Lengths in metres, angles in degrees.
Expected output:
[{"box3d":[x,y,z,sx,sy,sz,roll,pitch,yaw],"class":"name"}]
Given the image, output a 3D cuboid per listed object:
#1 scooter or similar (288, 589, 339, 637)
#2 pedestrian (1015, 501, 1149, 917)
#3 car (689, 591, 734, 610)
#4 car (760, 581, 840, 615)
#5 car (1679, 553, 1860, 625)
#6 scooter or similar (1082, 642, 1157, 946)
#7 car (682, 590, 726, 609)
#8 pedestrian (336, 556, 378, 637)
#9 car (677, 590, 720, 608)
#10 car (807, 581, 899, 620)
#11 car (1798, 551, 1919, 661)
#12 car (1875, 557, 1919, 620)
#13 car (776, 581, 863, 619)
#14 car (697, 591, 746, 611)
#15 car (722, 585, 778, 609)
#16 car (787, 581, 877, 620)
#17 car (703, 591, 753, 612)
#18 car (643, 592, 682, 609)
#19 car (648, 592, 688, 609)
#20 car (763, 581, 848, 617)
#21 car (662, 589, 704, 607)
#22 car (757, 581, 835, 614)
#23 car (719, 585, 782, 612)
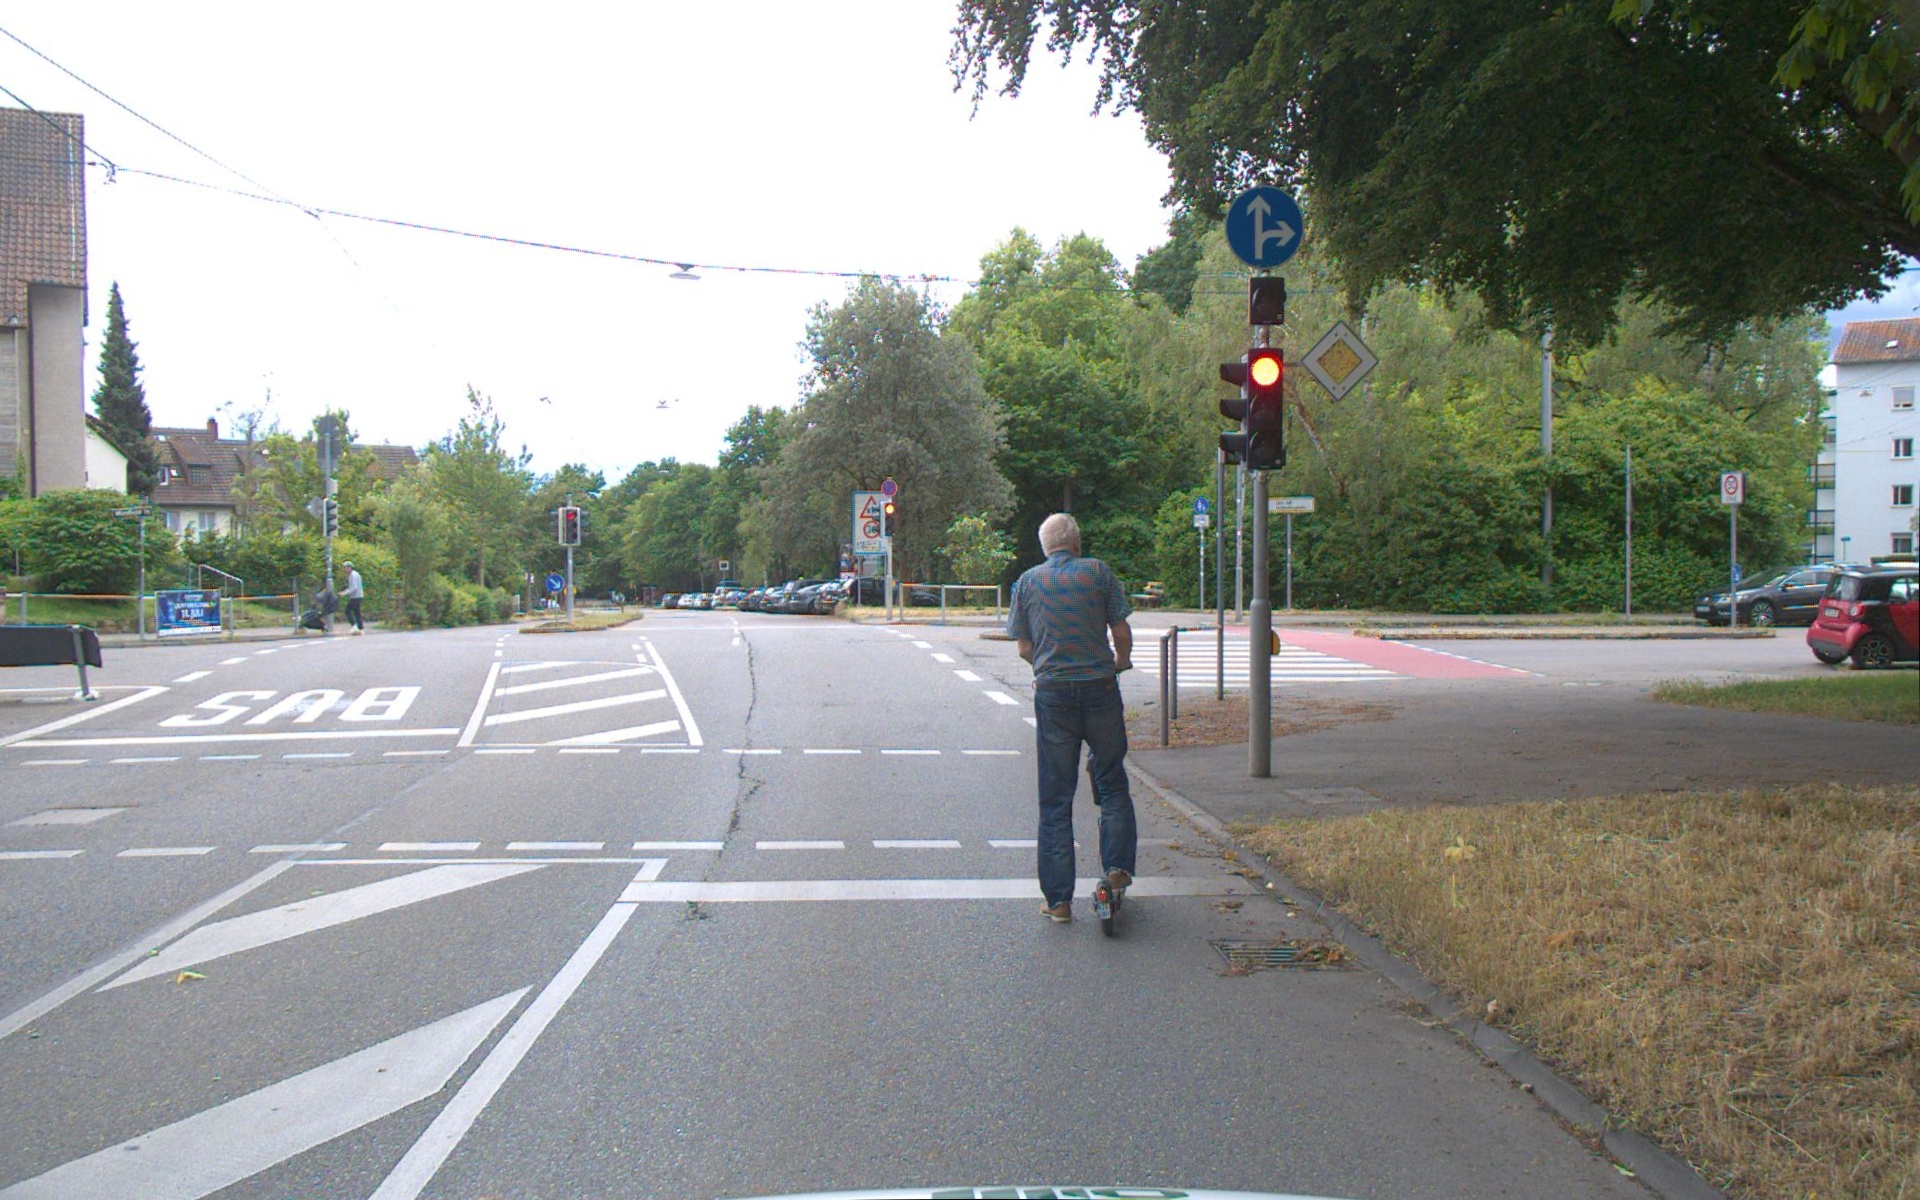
[{"box3d":[-15.249,0.298,39.006,1.093,1.100,0.573,-1,1,-25],"class":"scooter or similar"},{"box3d":[0.565,0.484,7.565,0.560,1.845,0.421,-1,0,7],"class":"pedestrian"},{"box3d":[-23.063,0.004,153.716,3.790,1.639,1.716,-2,1,-24],"class":"car"},{"box3d":[-8.368,-0.134,86.520,3.790,1.639,1.716,-2,1,-24],"class":"car"},{"box3d":[19.148,-0.266,39.235,3.444,1.557,1.729,-2,1,5],"class":"car"},{"box3d":[0.726,0.815,7.391,0.276,1.199,1.178,-1,1,7],"class":"scooter or similar"},{"box3d":[-24.122,-0.069,155.833,3.790,1.639,1.716,-2,1,-24],"class":"car"},{"box3d":[-14.389,-0.096,39.441,0.872,1.895,0.570,-1,0,-25],"class":"pedestrian"},{"box3d":[-25.053,-0.096,158.390,3.790,1.639,1.716,-2,1,-24],"class":"car"},{"box3d":[-4.849,0.009,74.712,3.787,1.639,1.717,-2,1,-22],"class":"car"},{"box3d":[15.250,0.044,25.834,3.444,1.639,1.729,-2,1,4],"class":"car"},{"box3d":[26.399,-0.339,45.815,1.689,1.639,3.850,-1,1,27],"class":"car"},{"box3d":[-6.728,-0.017,79.196,3.790,1.639,1.716,-2,1,-24],"class":"car"},{"box3d":[-20.555,0.080,142.450,3.790,1.639,1.716,-2,1,-24],"class":"car"},{"box3d":[-15.440,-0.231,121.656,3.790,1.639,1.716,-2,1,-24],"class":"car"},{"box3d":[-5.934,0.003,76.666,3.792,1.639,1.715,-2,1,-25],"class":"car"},{"box3d":[-19.460,0.113,138.791,3.790,1.639,1.716,-2,1,-24],"class":"car"},{"box3d":[-31.934,0.064,177.482,3.790,1.639,1.716,-2,1,-24],"class":"car"},{"box3d":[-30.925,0.005,175.160,3.790,1.639,1.716,-2,1,-24],"class":"car"},{"box3d":[-7.579,-0.071,81.218,3.790,1.639,1.716,-2,1,-24],"class":"car"},{"box3d":[-27.745,-0.176,165.544,3.790,1.639,1.716,-2,1,-24],"class":"car"},{"box3d":[-8.807,-0.147,88.925,3.790,1.639,1.716,-2,1,-24],"class":"car"},{"box3d":[-13.784,-0.093,108.713,3.790,1.639,1.716,-2,1,-24],"class":"car"}]
